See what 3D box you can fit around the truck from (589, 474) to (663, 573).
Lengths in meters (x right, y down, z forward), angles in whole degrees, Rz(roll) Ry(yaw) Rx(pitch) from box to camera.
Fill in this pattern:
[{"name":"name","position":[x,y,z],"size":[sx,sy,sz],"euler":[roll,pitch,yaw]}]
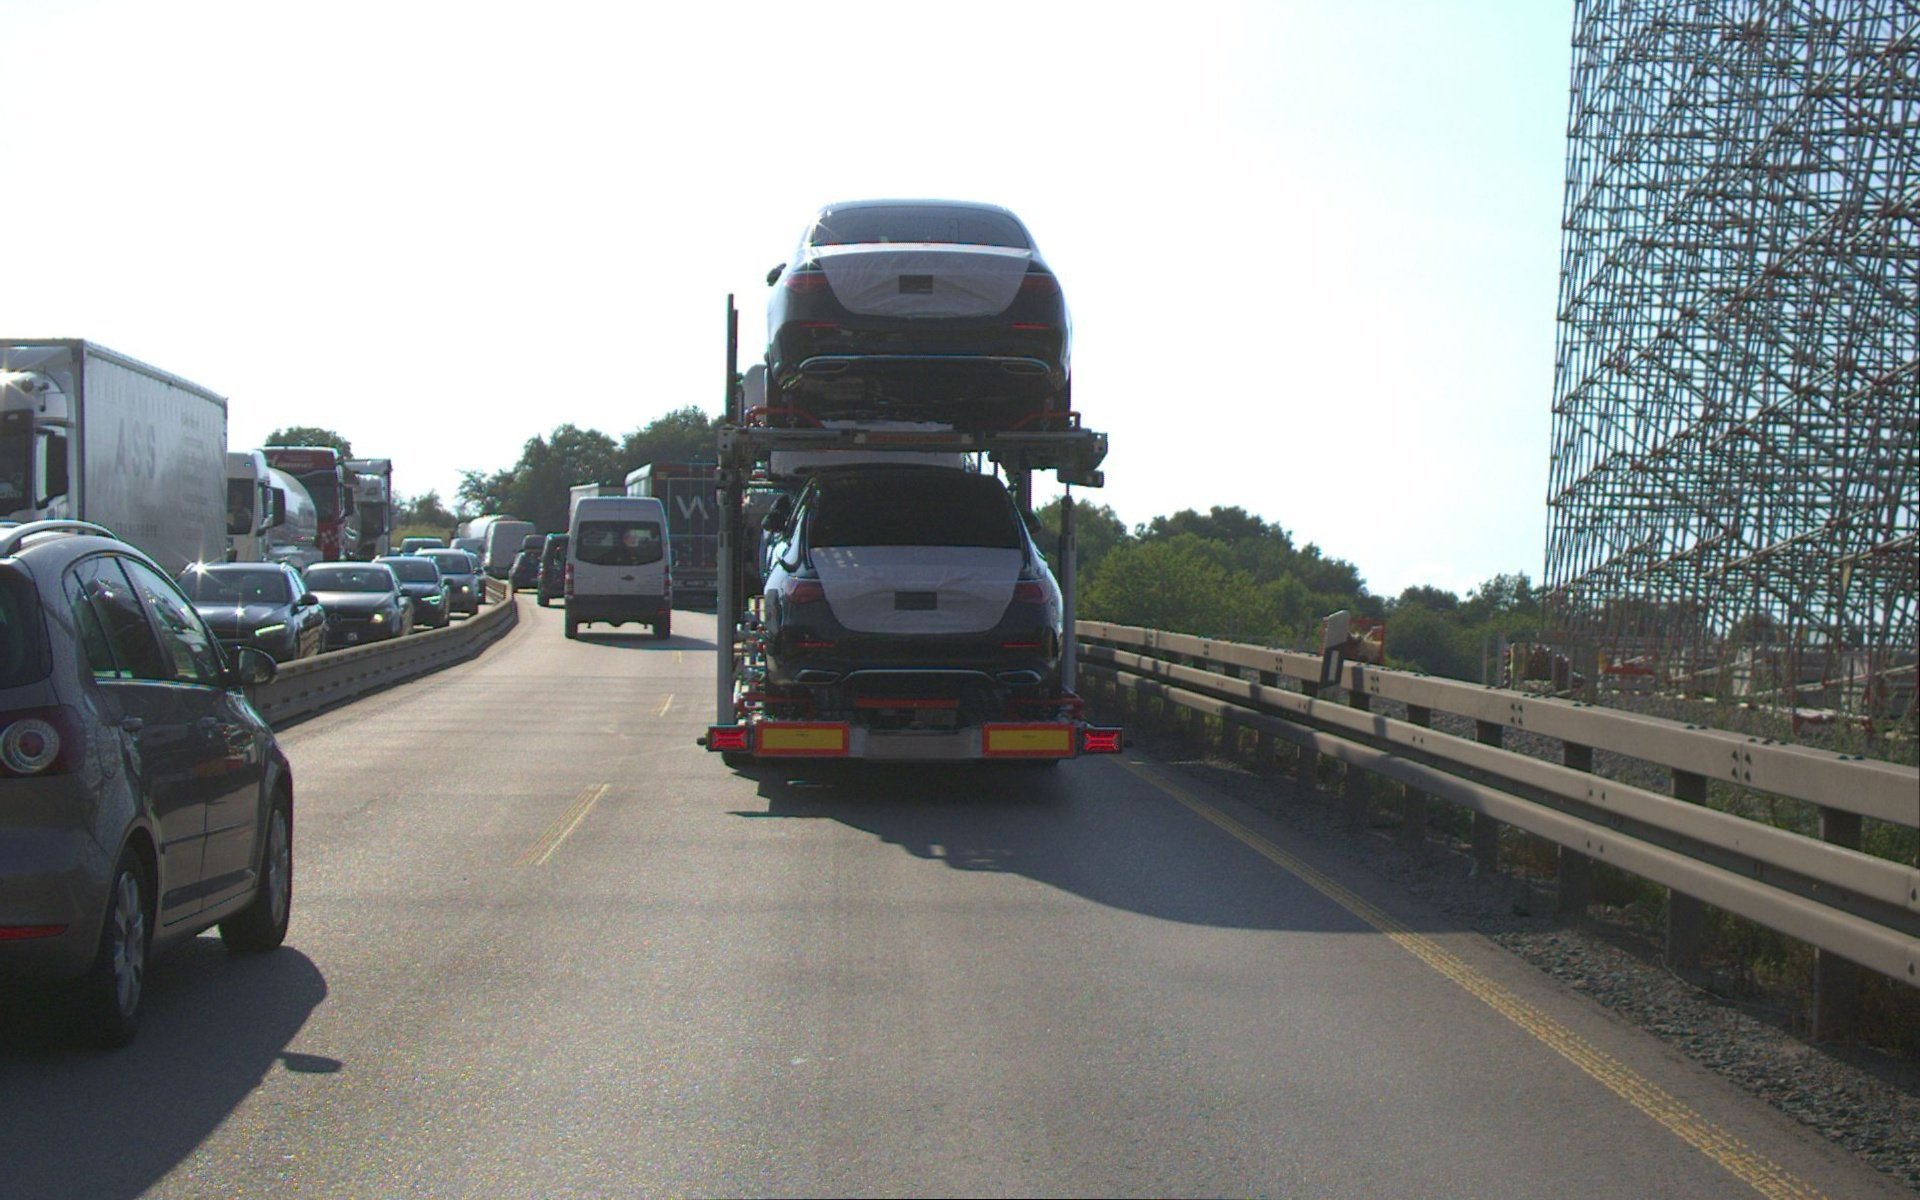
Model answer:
[{"name":"truck","position":[-12.851,-2.874,131.820],"size":[2.530,3.635,8.907],"euler":[1,1,-7]}]

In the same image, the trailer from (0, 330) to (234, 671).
[{"name":"trailer","position":[-11.985,-1.237,46.889],"size":[2.427,3.949,14.101],"euler":[1,1,-5]}]

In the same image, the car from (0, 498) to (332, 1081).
[{"name":"car","position":[-3.297,0.489,11.387],"size":[1.691,1.590,4.000],"euler":[1,1,0]}]

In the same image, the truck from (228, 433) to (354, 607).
[{"name":"truck","position":[-15.090,-1.773,77.786],"size":[2.432,3.772,5.619],"euler":[1,0,-8]}]

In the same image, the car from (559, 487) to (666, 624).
[{"name":"car","position":[-6.618,-0.840,65.484],"size":[1.920,2.484,5.410],"euler":[1,1,-6]}]

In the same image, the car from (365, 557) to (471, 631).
[{"name":"car","position":[-10.624,-0.141,67.616],"size":[1.793,1.393,4.244],"euler":[1,1,-6]}]

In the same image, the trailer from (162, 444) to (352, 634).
[{"name":"trailer","position":[-13.597,-1.150,67.341],"size":[2.306,3.350,12.055],"euler":[1,1,-5]}]

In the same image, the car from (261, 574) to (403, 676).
[{"name":"car","position":[-8.932,0.328,49.133],"size":[1.607,1.371,3.901],"euler":[1,1,-5]}]

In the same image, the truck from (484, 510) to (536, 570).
[{"name":"truck","position":[-24.263,-3.228,185.441],"size":[2.590,3.159,6.678],"euler":[1,0,-6]}]

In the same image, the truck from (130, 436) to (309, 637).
[{"name":"truck","position":[-13.041,-1.096,60.901],"size":[2.413,3.358,5.618],"euler":[1,0,-5]}]

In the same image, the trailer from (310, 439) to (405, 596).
[{"name":"trailer","position":[-17.462,-2.328,100.117],"size":[2.475,4.314,10.514],"euler":[1,1,-9]}]

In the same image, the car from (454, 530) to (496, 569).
[{"name":"car","position":[-23.479,-2.432,166.506],"size":[1.837,1.829,4.001],"euler":[1,1,-6]}]

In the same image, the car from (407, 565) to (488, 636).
[{"name":"car","position":[-11.823,0.000,79.501],"size":[1.750,1.581,3.944],"euler":[1,1,-7]}]

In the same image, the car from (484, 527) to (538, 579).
[{"name":"car","position":[-15.693,-1.643,120.042],"size":[1.826,1.766,4.001],"euler":[1,1,-8]}]

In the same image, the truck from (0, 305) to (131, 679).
[{"name":"truck","position":[-11.340,-1.208,39.931],"size":[2.473,4.032,5.618],"euler":[1,0,-5]}]

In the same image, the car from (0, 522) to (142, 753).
[{"name":"car","position":[-7.360,0.224,25.427],"size":[1.808,1.563,4.366],"euler":[1,1,-4]}]

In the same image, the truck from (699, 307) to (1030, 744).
[{"name":"truck","position":[-1.096,-0.694,35.021],"size":[2.837,3.779,9.988],"euler":[1,1,-3]}]

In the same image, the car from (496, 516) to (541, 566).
[{"name":"car","position":[-17.897,-2.381,139.377],"size":[1.629,2.007,4.001],"euler":[1,0,-9]}]

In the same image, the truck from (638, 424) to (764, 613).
[{"name":"truck","position":[-7.687,-2.323,100.734],"size":[3.285,5.219,9.938],"euler":[1,0,-6]}]

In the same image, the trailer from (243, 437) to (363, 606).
[{"name":"trailer","position":[-15.911,-1.839,83.768],"size":[2.306,3.777,12.055],"euler":[1,1,-8]}]

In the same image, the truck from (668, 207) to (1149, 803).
[{"name":"truck","position":[-0.580,-0.607,25.612],"size":[2.799,3.485,10.606],"euler":[1,1,-3]}]

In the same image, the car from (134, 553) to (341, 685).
[{"name":"car","position":[-8.482,0.191,40.680],"size":[1.777,1.445,4.664],"euler":[1,1,-4]}]
